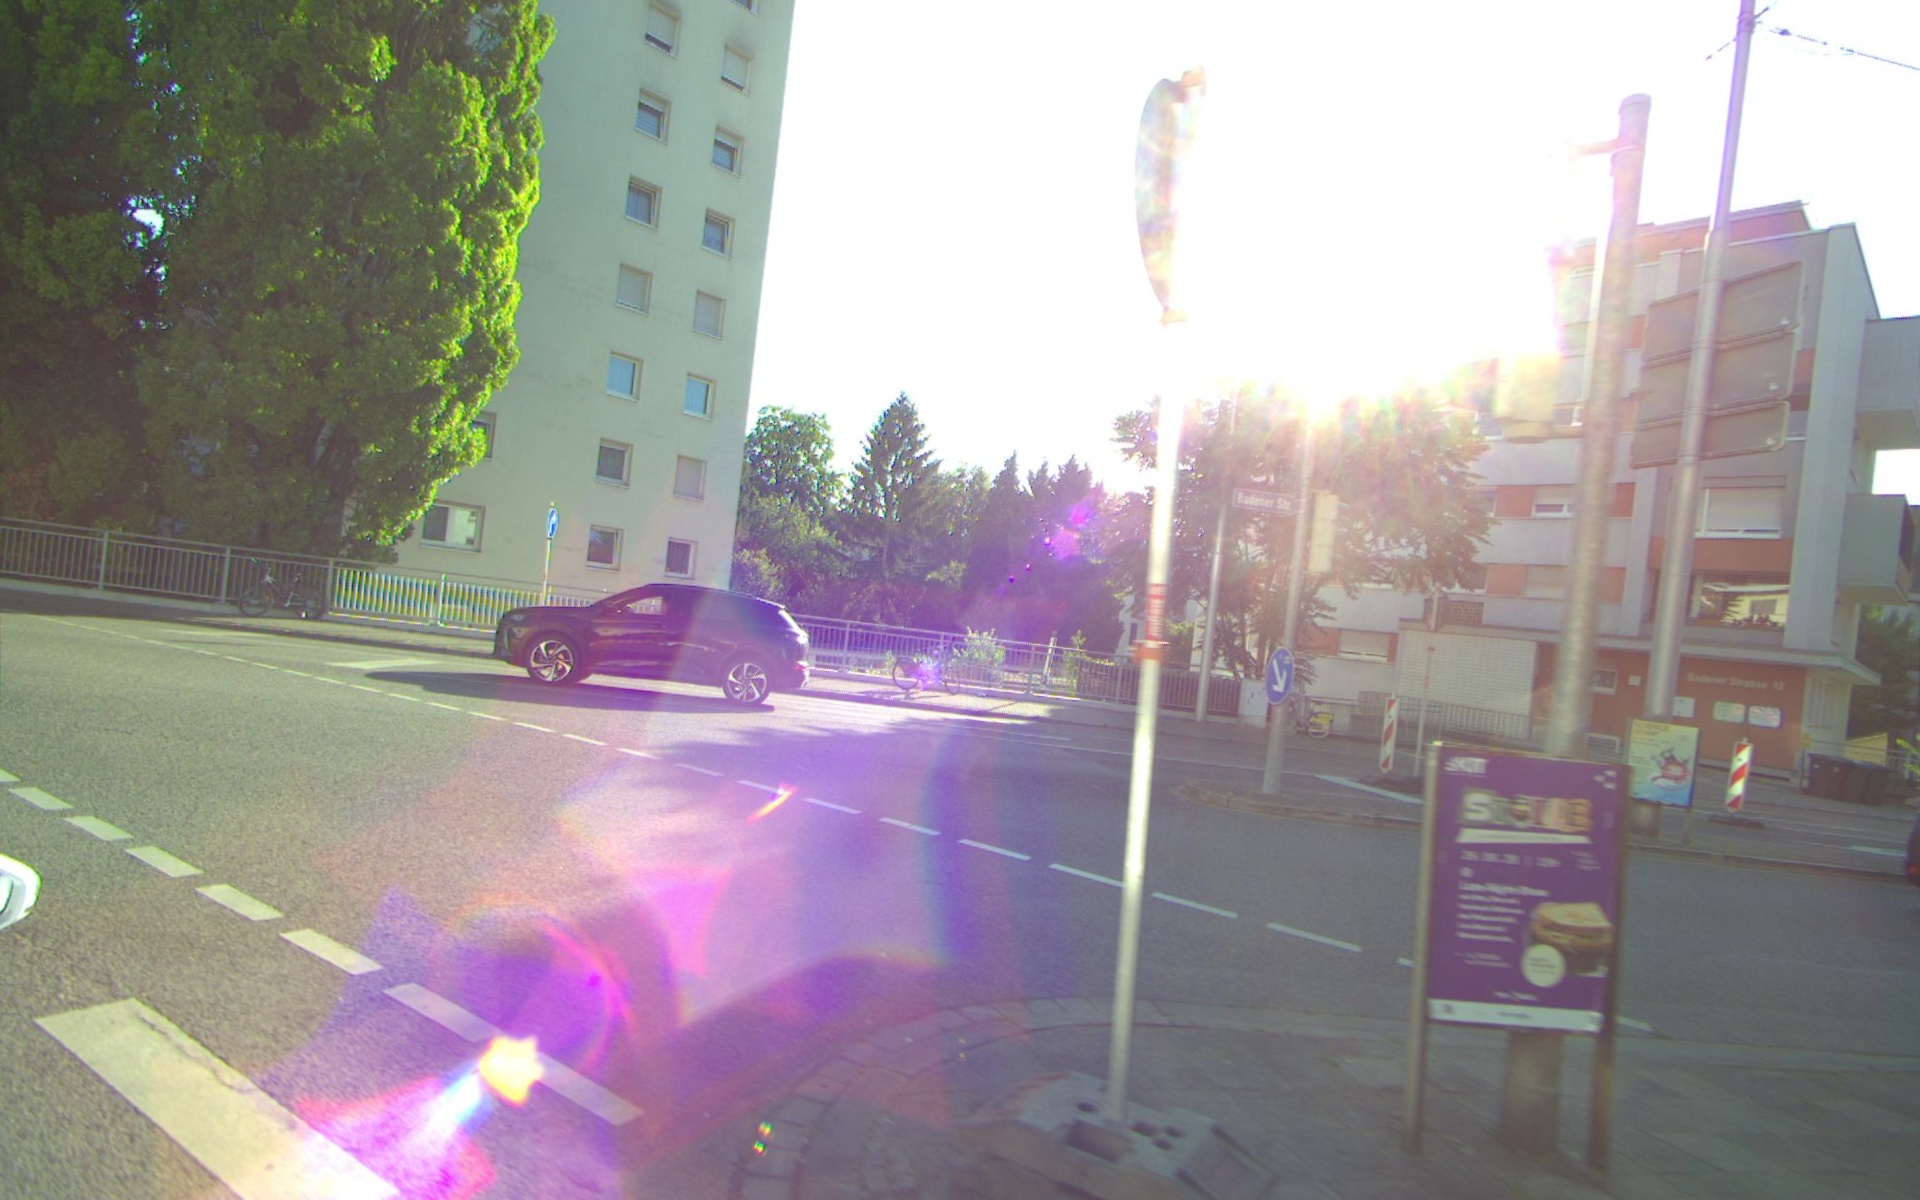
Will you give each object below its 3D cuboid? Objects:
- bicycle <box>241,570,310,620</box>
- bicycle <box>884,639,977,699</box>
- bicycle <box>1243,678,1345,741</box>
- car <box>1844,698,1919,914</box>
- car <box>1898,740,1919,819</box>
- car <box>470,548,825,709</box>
[{"bbox_3d":[-13.988,-0.081,20.592,0.402,0.914,1.289,8,-2,0],"label":"bicycle"},{"bbox_3d":[-0.671,1.546,22.657,1.895,1.080,0.614,9,-1,-17],"label":"bicycle"},{"bbox_3d":[8.101,2.657,24.386,2.301,1.192,0.709,9,-1,-19],"label":"bicycle"},{"bbox_3d":[10.690,2.164,8.875,4.181,1.839,1.995,8,2,-10],"label":"car"},{"bbox_3d":[24.393,4.463,22.822,4.151,1.801,2.001,8,-2,1],"label":"car"},{"bbox_3d":[-4.478,0.484,15.036,4.588,1.688,1.999,8,-4,-12],"label":"car"}]
